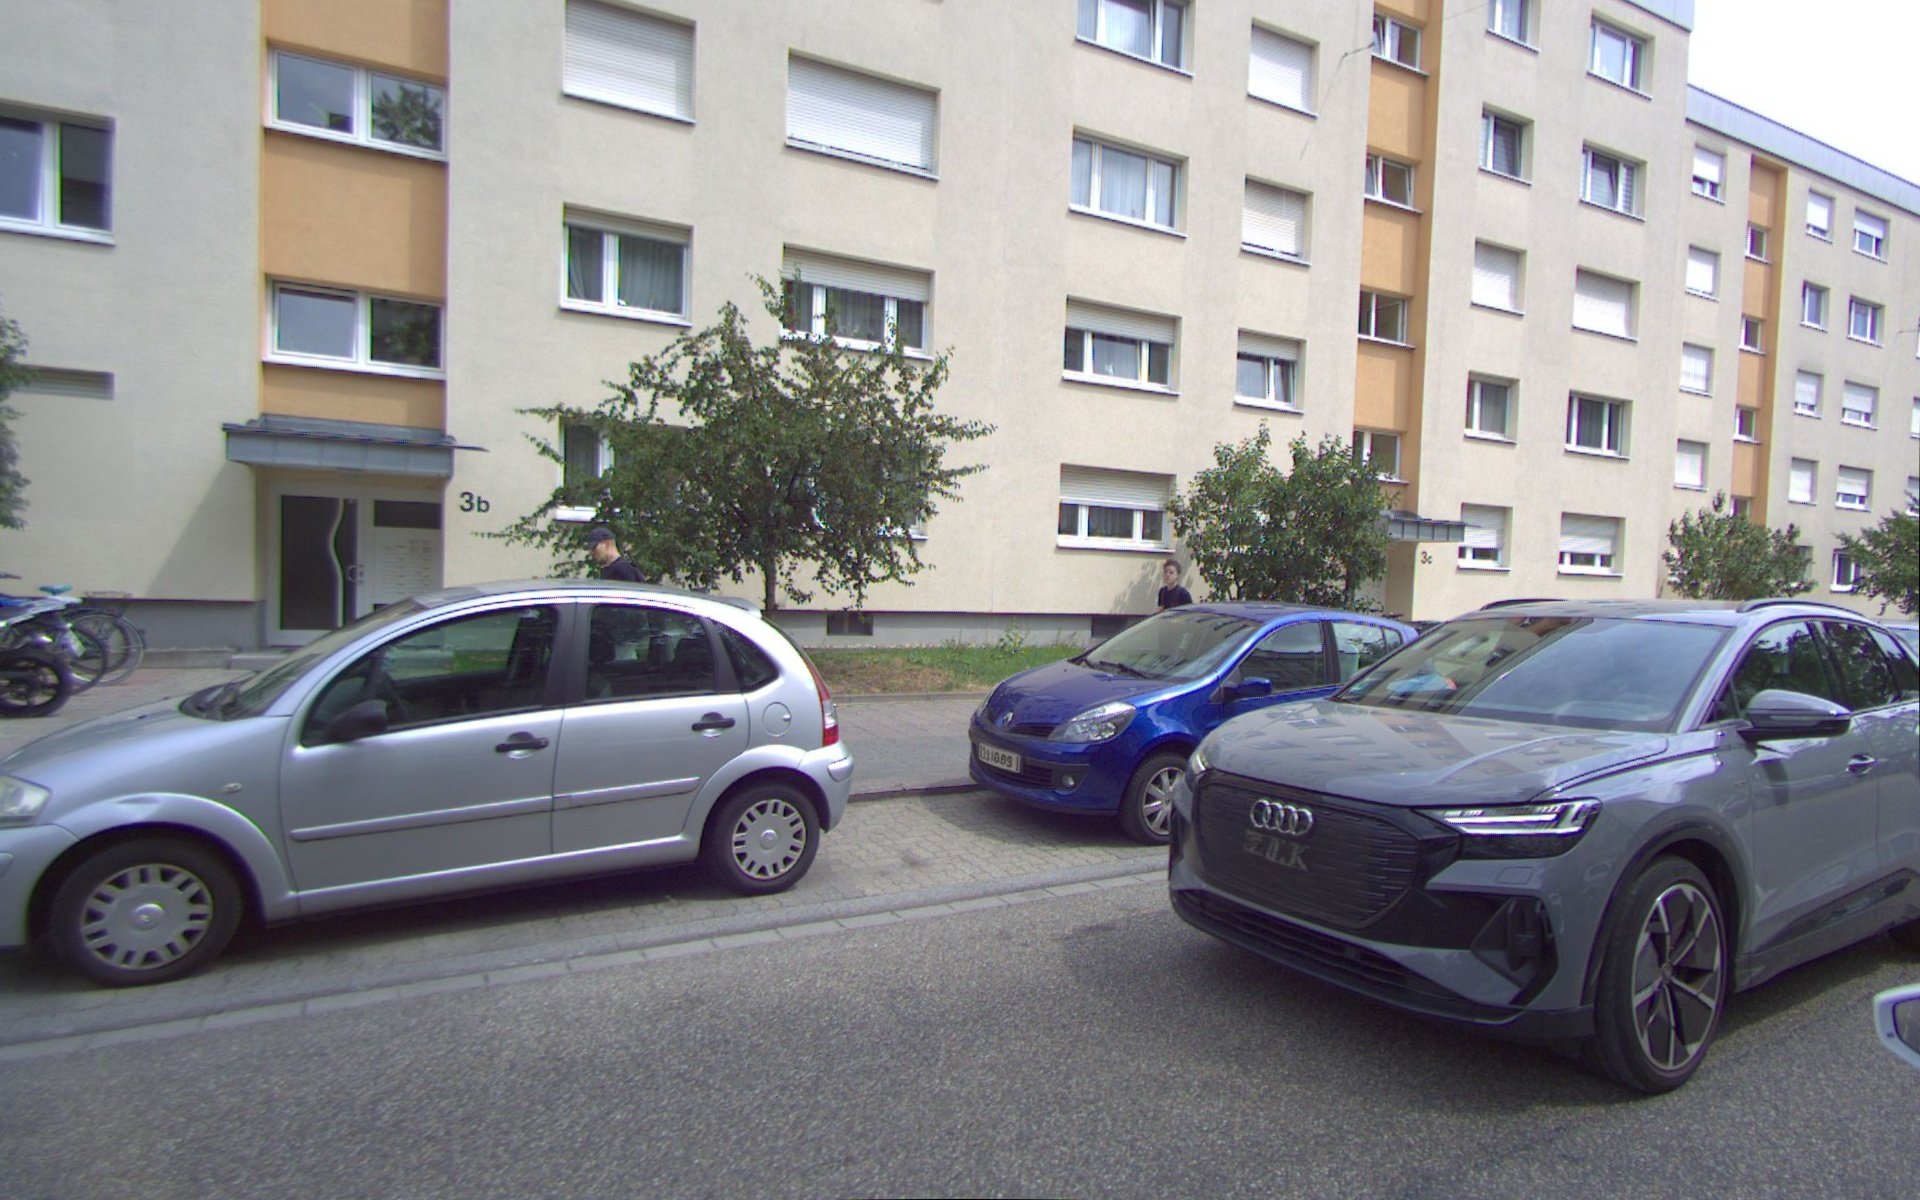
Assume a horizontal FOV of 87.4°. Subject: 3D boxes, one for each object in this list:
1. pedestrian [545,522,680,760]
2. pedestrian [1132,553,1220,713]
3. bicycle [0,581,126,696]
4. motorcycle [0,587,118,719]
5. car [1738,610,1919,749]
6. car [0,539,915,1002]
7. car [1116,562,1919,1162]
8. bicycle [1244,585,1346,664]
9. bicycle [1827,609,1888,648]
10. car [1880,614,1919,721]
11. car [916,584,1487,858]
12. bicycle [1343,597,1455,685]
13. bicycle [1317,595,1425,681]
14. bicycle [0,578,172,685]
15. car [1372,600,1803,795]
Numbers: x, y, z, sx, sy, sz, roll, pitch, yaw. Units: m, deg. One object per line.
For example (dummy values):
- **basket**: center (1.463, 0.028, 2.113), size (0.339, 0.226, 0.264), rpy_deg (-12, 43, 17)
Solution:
- **pedestrian**: center (-2.861, 0.314, 8.253), size (0.889, 1.837, 0.616), rpy_deg (1, 2, -32)
- **pedestrian**: center (2.587, 0.385, 12.043), size (0.795, 1.837, 0.616), rpy_deg (1, 1, -32)
- **bicycle**: center (-8.579, 0.340, 9.026), size (1.597, 0.999, 0.438), rpy_deg (1, 2, -30)
- **motorcycle**: center (-8.144, 0.401, 7.851), size (2.290, 0.999, 0.658), rpy_deg (1, 2, -30)
- **car**: center (12.404, 0.950, 13.535), size (3.958, 1.560, 1.713), rpy_deg (0, 2, -31)
- **car**: center (-2.313, 0.589, 5.005), size (3.807, 1.583, 1.661), rpy_deg (1, 3, -31)
- **car**: center (3.007, 0.734, 4.604), size (4.385, 1.607, 1.809), rpy_deg (1, 0, -31)
- **bicycle**: center (6.341, 0.448, 18.988), size (2.102, 1.444, 0.460), rpy_deg (0, 2, -27)
- **bicycle**: center (23.932, 0.744, 26.758), size (2.416, 0.993, 0.450), rpy_deg (0, 2, -30)
- **car**: center (16.742, 1.103, 15.969), size (4.513, 1.601, 1.746), rpy_deg (1, 2, -29)
- **car**: center (1.808, 0.721, 7.434), size (3.836, 1.503, 1.810), rpy_deg (1, 2, -28)
- **bicycle**: center (7.430, 0.675, 16.954), size (2.102, 1.412, 0.460), rpy_deg (0, 2, -26)
- **bicycle**: center (7.169, 0.648, 17.477), size (2.102, 1.431, 0.460), rpy_deg (0, 2, -27)
- **bicycle**: center (-8.807, 0.302, 9.832), size (1.654, 0.999, 0.438), rpy_deg (1, 2, -30)
- **car**: center (6.267, 0.847, 9.978), size (4.065, 1.503, 1.810), rpy_deg (1, 2, -29)
